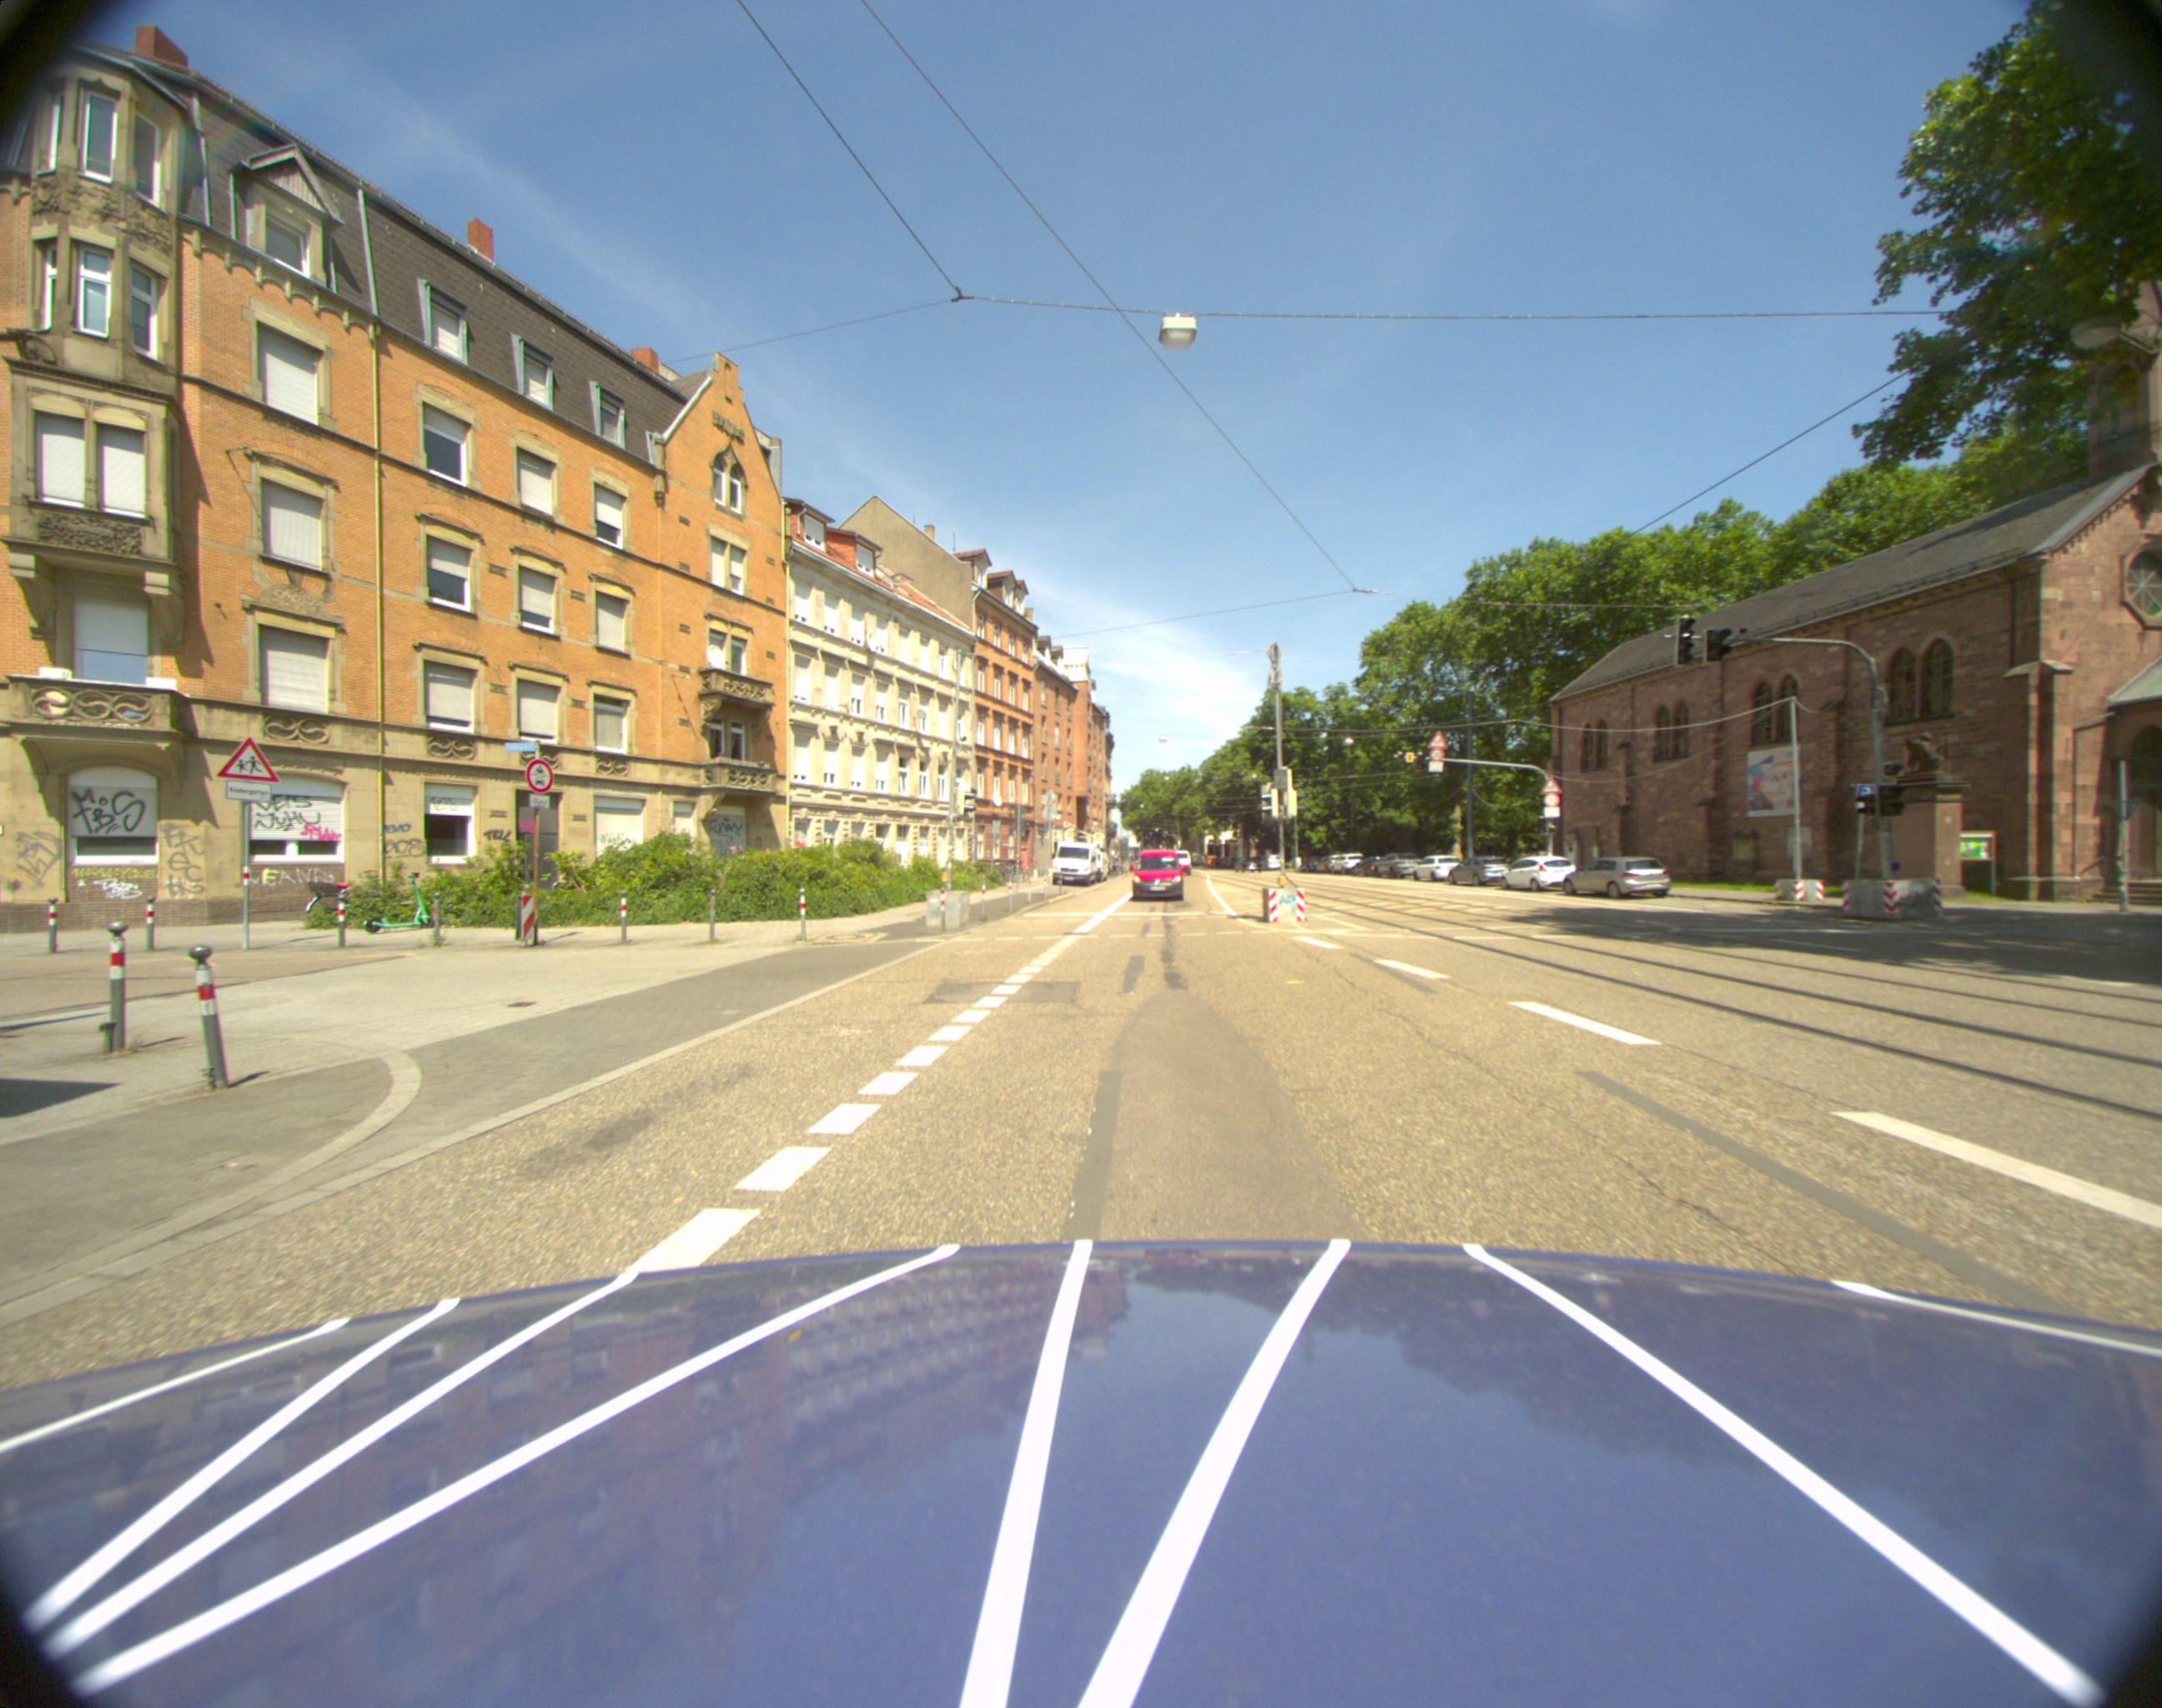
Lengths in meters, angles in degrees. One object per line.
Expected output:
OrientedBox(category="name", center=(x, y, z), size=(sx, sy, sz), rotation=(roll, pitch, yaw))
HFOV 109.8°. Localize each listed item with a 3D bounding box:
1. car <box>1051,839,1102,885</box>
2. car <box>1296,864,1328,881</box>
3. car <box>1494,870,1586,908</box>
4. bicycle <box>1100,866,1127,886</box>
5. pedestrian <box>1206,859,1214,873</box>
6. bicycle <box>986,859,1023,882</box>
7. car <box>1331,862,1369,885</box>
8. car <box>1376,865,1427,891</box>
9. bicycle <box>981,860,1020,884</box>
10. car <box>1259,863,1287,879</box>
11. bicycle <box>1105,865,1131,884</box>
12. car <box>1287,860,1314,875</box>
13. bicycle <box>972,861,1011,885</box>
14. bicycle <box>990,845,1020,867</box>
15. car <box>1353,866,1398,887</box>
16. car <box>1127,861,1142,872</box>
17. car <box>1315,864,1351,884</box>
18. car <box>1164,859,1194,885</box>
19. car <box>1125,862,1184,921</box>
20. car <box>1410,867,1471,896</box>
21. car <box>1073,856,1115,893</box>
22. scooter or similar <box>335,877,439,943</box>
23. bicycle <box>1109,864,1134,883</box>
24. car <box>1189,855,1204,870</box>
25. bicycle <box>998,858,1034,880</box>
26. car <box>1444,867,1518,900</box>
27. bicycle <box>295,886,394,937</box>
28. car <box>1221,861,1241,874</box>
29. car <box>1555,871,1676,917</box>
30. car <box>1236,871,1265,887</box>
OrientedBox(category="car", center=(-0.145, 0.419, 42.075), size=(1.997, 2.317, 5.411), rotation=(2, 0, 8))
OrientedBox(category="car", center=(21.285, 1.667, 70.061), size=(1.747, 1.489, 4.188), rotation=(-1, 0, 2))
OrientedBox(category="car", center=(19.767, 1.471, 32.910), size=(1.662, 1.450, 4.059), rotation=(-1, 0, 3))
OrientedBox(category="bicycle", center=(2.521, 1.713, 59.247), size=(1.936, 1.497, 0.666), rotation=(-1, 0, 19))
OrientedBox(category="pedestrian", center=(18.297, 1.670, 107.771), size=(0.952, 2.002, 0.760), rotation=(-1, 0, 5))
OrientedBox(category="bicycle", center=(-4.165, 0.905, 41.345), size=(1.918, 1.173, 0.493), rotation=(-1, 0, 8))
OrientedBox(category="car", center=(20.840, 1.518, 58.905), size=(1.747, 1.643, 3.906), rotation=(-1, 0, 4))
OrientedBox(category="car", center=(20.376, 1.478, 48.475), size=(1.747, 1.514, 3.754), rotation=(-1, 0, 2))
OrientedBox(category="bicycle", center=(-4.247, 0.952, 40.051), size=(1.918, 1.173, 0.493), rotation=(-1, 0, 8))
OrientedBox(category="car", center=(20.686, 1.825, 81.884), size=(1.977, 1.553, 4.000), rotation=(-1, 0, 0))
OrientedBox(category="bicycle", center=(2.993, 1.688, 61.383), size=(1.936, 1.497, 0.666), rotation=(-1, 0, 19))
OrientedBox(category="car", center=(21.720, 1.304, 75.203), size=(1.649, 1.372, 3.766), rotation=(-1, 0, 2))
OrientedBox(category="bicycle", center=(-4.590, 0.972, 39.118), size=(1.918, 1.173, 0.493), rotation=(-1, 0, 8))
OrientedBox(category="bicycle", center=(-4.372, 0.105, 43.677), size=(0.491, 1.173, 1.925), rotation=(-1, 0, 37))
OrientedBox(category="car", center=(20.761, 1.567, 53.702), size=(1.671, 1.368, 4.000), rotation=(-1, 0, 2))
OrientedBox(category="car", center=(8.650, 1.999, 123.541), size=(1.999, 1.641, 3.999), rotation=(-1, 0, -1))
OrientedBox(category="car", center=(21.161, 1.655, 63.960), size=(1.747, 1.489, 4.188), rotation=(-1, 0, 2))
OrientedBox(category="car", center=(7.887, 1.405, 61.430), size=(2.165, 1.926, 4.856), rotation=(-1, 0, 5))
OrientedBox(category="car", center=(2.689, 1.265, 27.329), size=(1.858, 1.823, 5.169), rotation=(-1, 0, 7))
OrientedBox(category="car", center=(20.415, 1.537, 43.323), size=(1.747, 1.450, 3.754), rotation=(-1, 0, 2))
OrientedBox(category="car", center=(0.891, 1.242, 48.479), size=(1.997, 2.123, 5.275), rotation=(2, 0, 8))
OrientedBox(category="scooter or similar", center=(-13.642, 1.071, 14.987), size=(0.490, 1.198, 1.489), rotation=(-1, 0, 12))
OrientedBox(category="bicycle", center=(3.327, 1.599, 62.218), size=(1.936, 1.497, 0.666), rotation=(-1, 0, 19))
OrientedBox(category="car", center=(18.008, 1.308, 118.517), size=(1.821, 2.283, 3.762), rotation=(-1, 0, 0))
OrientedBox(category="bicycle", center=(-3.643, 0.855, 42.521), size=(1.918, 1.173, 0.493), rotation=(-1, 0, 8))
OrientedBox(category="car", center=(19.882, 1.427, 37.957), size=(1.662, 1.450, 4.059), rotation=(-1, 0, 2))
OrientedBox(category="bicycle", center=(-15.851, 1.216, 16.392), size=(0.490, 0.986, 1.489), rotation=(-1, 0, 12))
OrientedBox(category="car", center=(19.443, 1.713, 98.572), size=(1.746, 1.506, 3.817), rotation=(-1, 0, -2))
OrientedBox(category="car", center=(19.518, 1.413, 27.989), size=(1.662, 1.450, 4.222), rotation=(-1, 0, 3))
OrientedBox(category="car", center=(15.909, 2.316, 71.548), size=(1.750, 1.387, 4.347), rotation=(-1, 0, 0))
